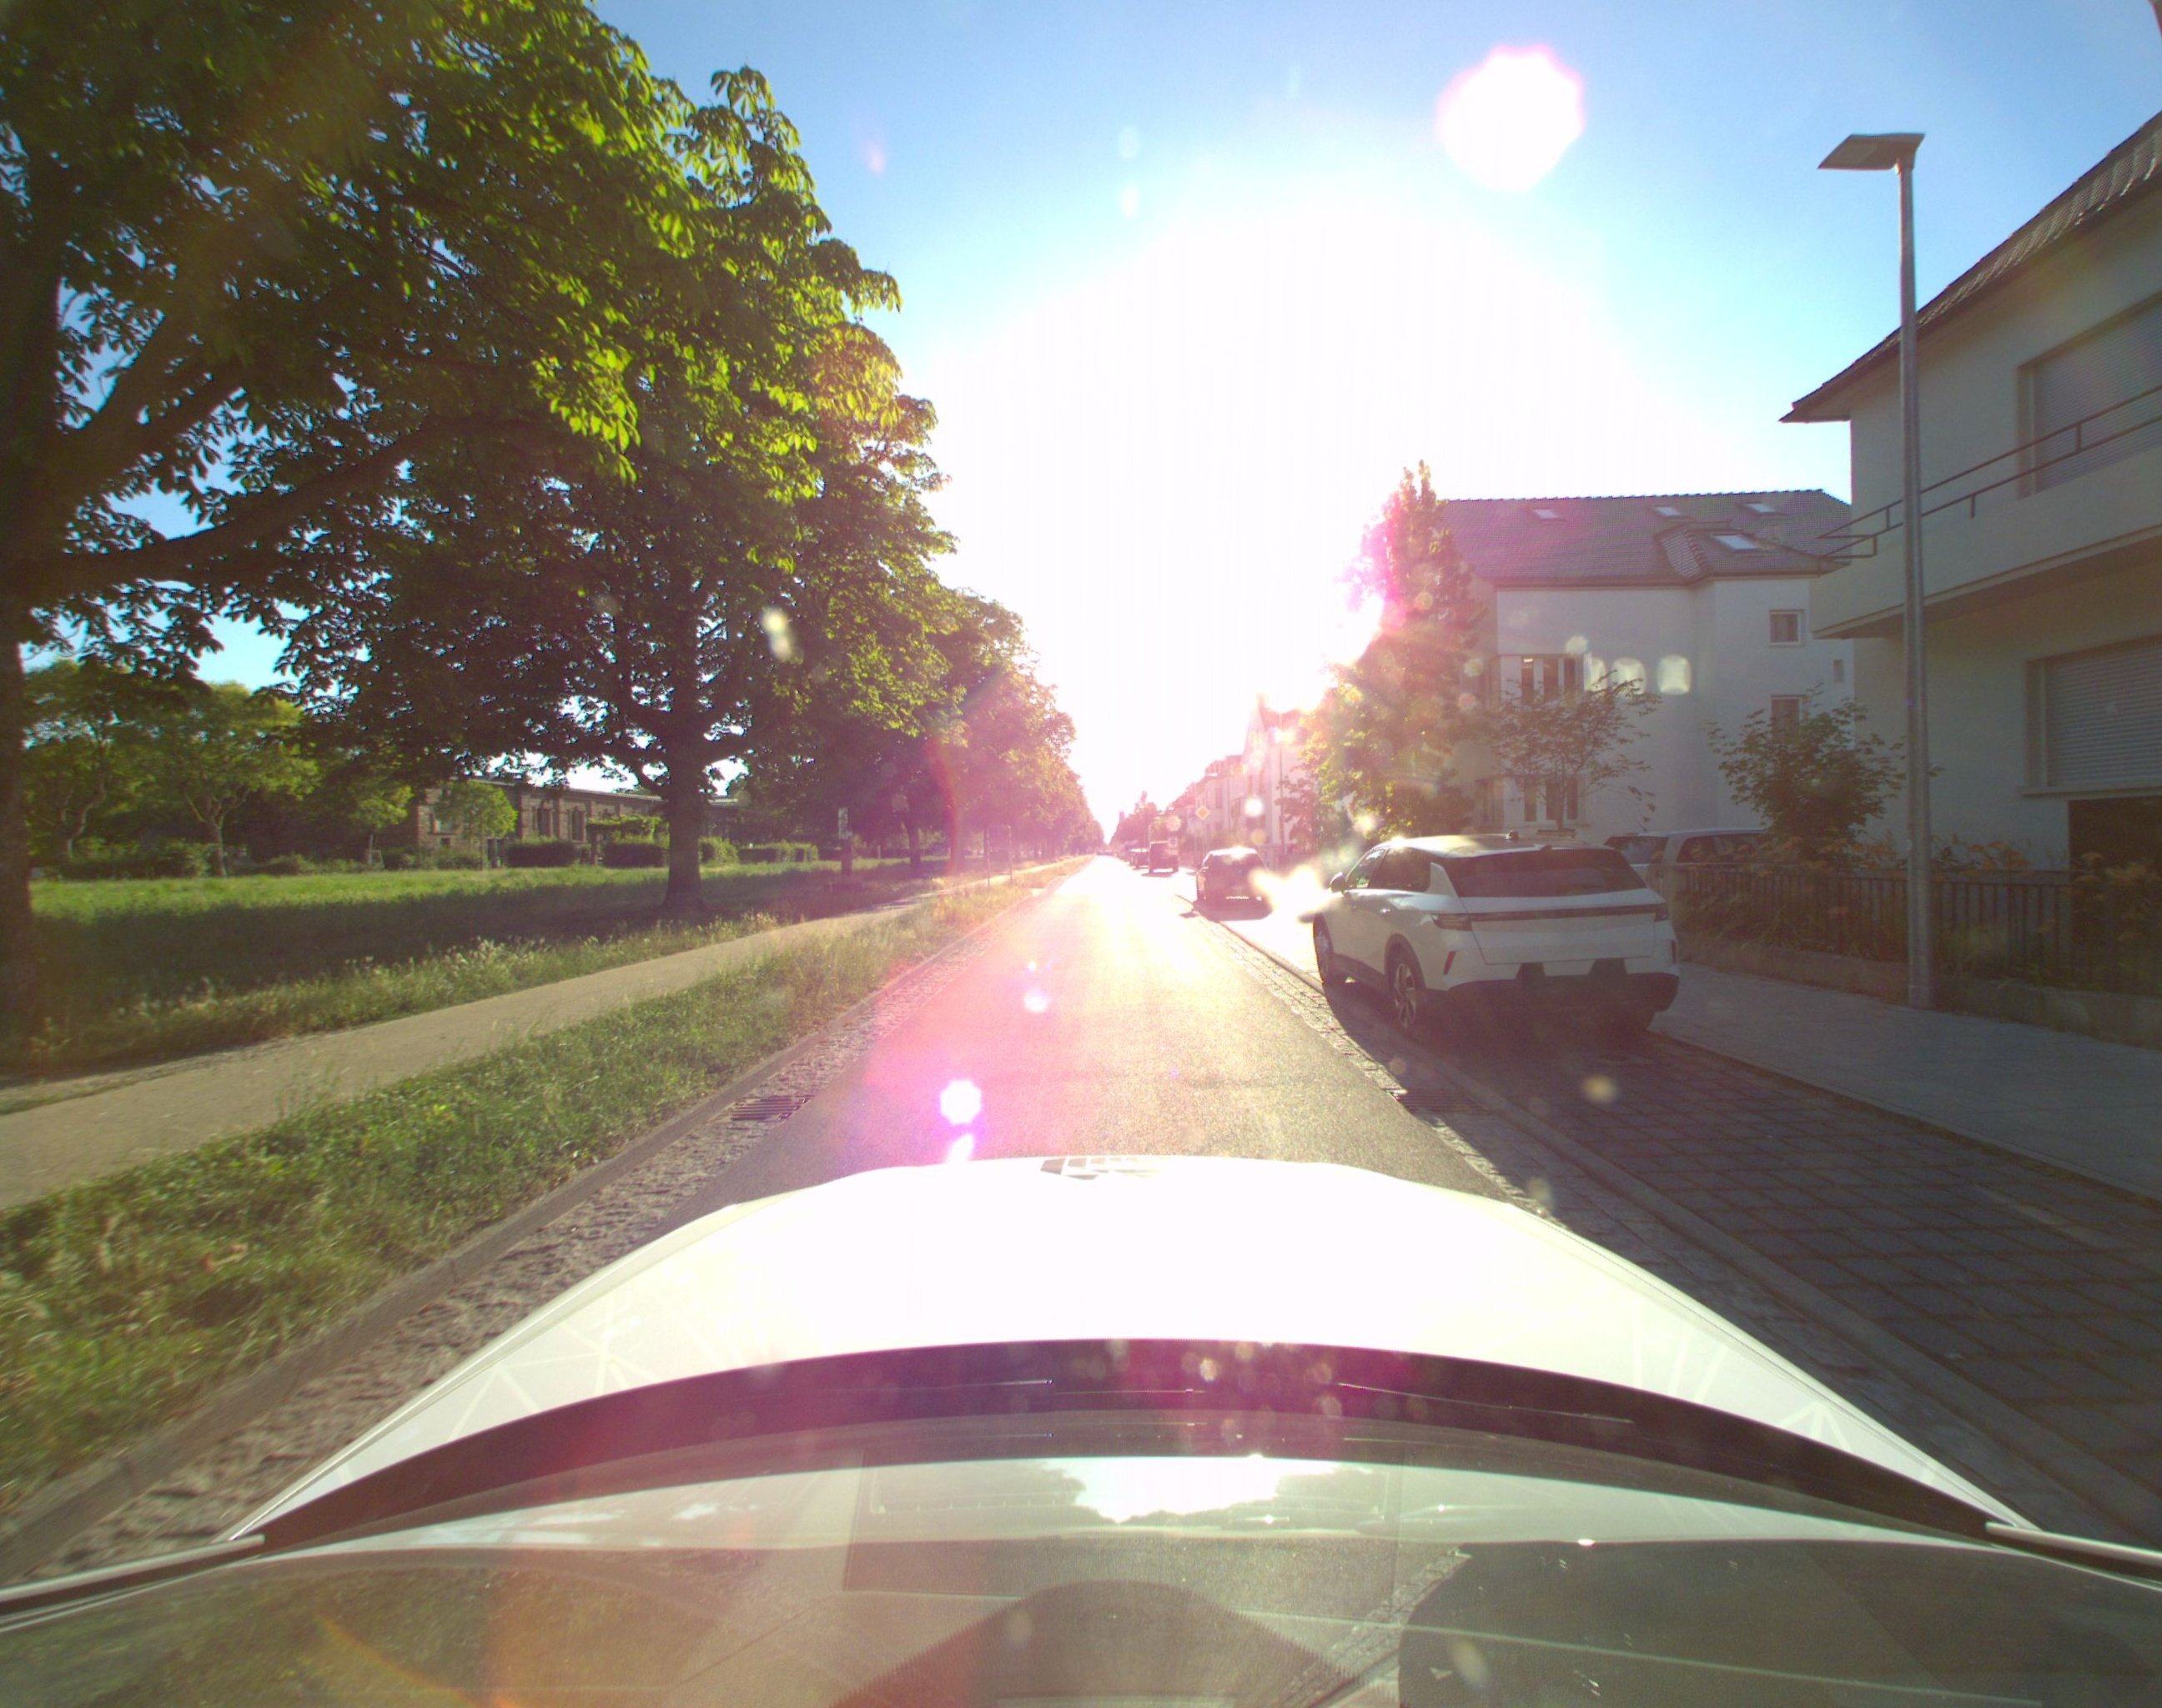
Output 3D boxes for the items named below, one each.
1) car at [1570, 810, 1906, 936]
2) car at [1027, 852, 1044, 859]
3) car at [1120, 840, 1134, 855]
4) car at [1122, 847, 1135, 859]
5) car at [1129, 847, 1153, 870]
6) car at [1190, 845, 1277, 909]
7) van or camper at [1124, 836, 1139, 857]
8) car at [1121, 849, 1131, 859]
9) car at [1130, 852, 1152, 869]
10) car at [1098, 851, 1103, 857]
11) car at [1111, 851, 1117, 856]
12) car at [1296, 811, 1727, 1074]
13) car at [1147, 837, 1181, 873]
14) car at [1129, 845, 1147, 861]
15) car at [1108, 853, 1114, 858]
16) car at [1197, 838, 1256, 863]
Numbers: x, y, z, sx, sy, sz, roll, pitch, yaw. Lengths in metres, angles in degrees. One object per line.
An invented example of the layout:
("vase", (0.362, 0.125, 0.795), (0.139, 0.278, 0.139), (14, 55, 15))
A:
("car", (10.246, 0.249, 12.895), (3.975, 1.844, 1.813), (0, 2, -4))
("car", (-12.140, 0.332, 218.295), (4.342, 1.764, 1.995), (0, 0, -7))
("car", (8.169, -1.143, 145.053), (2.119, 2.532, 5.188), (-3, 0, 0))
("car", (6.303, -0.097, 108.206), (1.657, 1.593, 4.088), (0, 0, 2))
("car", (5.094, 0.327, 69.656), (1.787, 1.771, 4.474), (-4, 0, 2))
("car", (4.221, 0.573, 23.164), (1.787, 1.482, 4.127), (-4, 1, 3))
("van or camper", (7.063, -1.007, 114.752), (1.936, 2.777, 5.942), (0, 0, 2))
("car", (7.685, -0.015, 138.781), (1.643, 1.530, 3.854), (-3, 0, 3))
("car", (5.929, 0.624, 81.366), (1.713, 1.574, 4.207), (-4, 0, -2))
("car", (6.054, -0.031, 252.692), (1.643, 1.530, 3.854), (2, 1, 3))
("car", (9.302, -0.143, 232.632), (1.643, 1.530, 3.854), (1, 1, 3))
("car", (3.556, 0.570, 7.884), (1.897, 1.708, 4.580), (-4, 1, 3))
("car", (5.354, 0.062, 53.060), (1.898, 2.131, 4.818), (-4, 0, 3))
("car", (6.068, -0.153, 87.295), (1.825, 1.685, 4.417), (0, 1, 2))
("car", (8.856, 0.453, 239.094), (1.856, 1.597, 3.871), (0, 0, 1))
("car", (11.178, -0.297, 62.752), (4.206, 1.726, 1.852), (-2, 0, -2))
